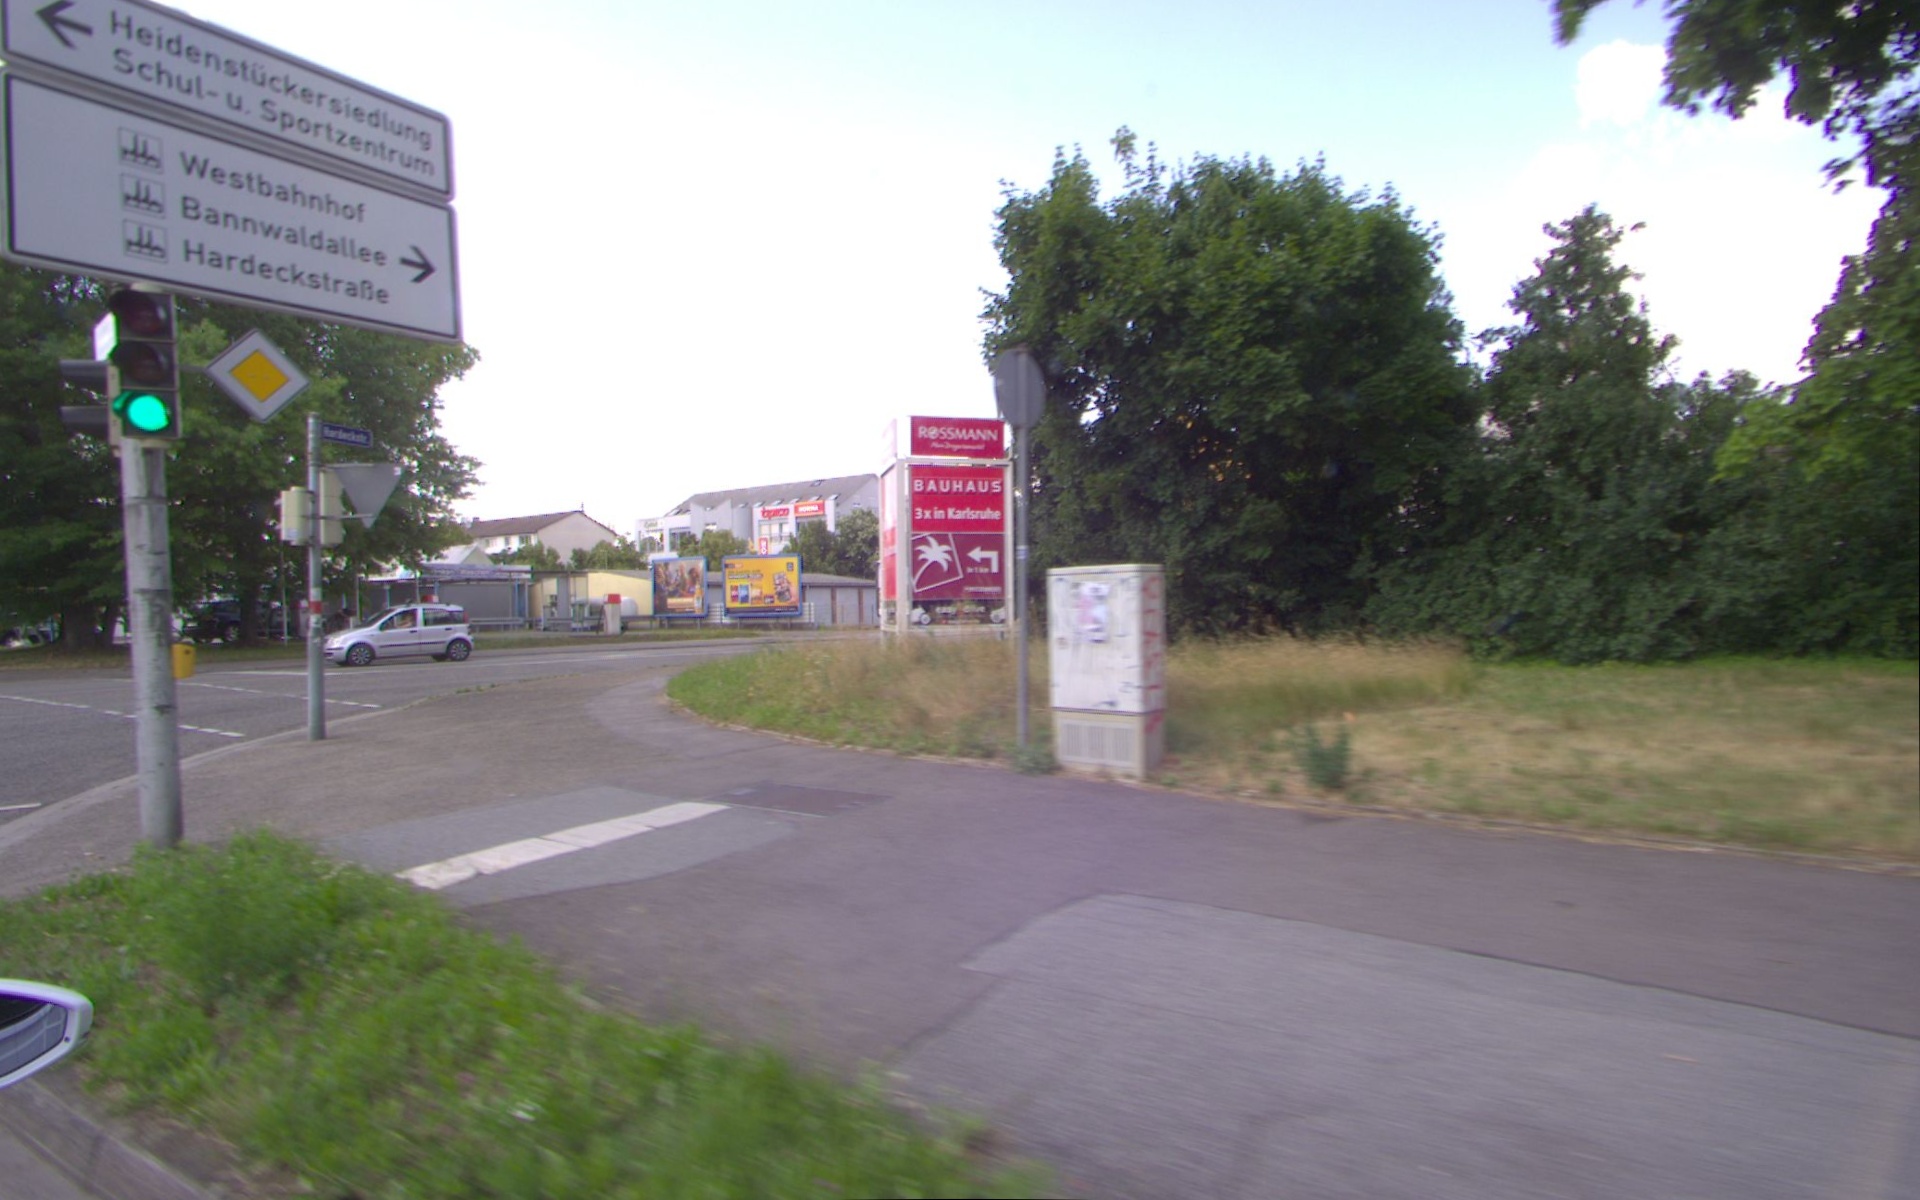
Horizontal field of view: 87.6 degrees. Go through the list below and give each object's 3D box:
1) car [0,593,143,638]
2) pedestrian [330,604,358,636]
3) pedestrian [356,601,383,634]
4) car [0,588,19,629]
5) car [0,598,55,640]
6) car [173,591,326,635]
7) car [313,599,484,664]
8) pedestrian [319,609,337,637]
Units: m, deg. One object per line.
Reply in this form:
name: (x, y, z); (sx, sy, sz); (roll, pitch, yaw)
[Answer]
car: (-39.712, 0.636, 44.263); (2.117, 1.851, 5.184); (-1, 0, 21)
pedestrian: (-23.972, 0.775, 38.992); (0.752, 1.205, 0.645); (0, -1, -12)
pedestrian: (-23.118, 0.696, 39.201); (0.752, 1.271, 0.645); (0, -1, -12)
car: (-59.877, 0.568, 61.297); (5.665, 2.486, 1.747); (-1, 1, 31)
car: (-48.887, 0.980, 49.922); (2.121, 2.030, 5.174); (-1, 0, 28)
car: (-28.197, 0.482, 39.943); (2.117, 1.617, 4.552); (-1, 0, 21)
car: (-14.492, 0.759, 25.970); (1.543, 1.537, 3.574); (-1, 0, 45)
pedestrian: (-35.296, 1.287, 55.964); (0.616, 1.565, 0.651); (-1, 1, 39)
